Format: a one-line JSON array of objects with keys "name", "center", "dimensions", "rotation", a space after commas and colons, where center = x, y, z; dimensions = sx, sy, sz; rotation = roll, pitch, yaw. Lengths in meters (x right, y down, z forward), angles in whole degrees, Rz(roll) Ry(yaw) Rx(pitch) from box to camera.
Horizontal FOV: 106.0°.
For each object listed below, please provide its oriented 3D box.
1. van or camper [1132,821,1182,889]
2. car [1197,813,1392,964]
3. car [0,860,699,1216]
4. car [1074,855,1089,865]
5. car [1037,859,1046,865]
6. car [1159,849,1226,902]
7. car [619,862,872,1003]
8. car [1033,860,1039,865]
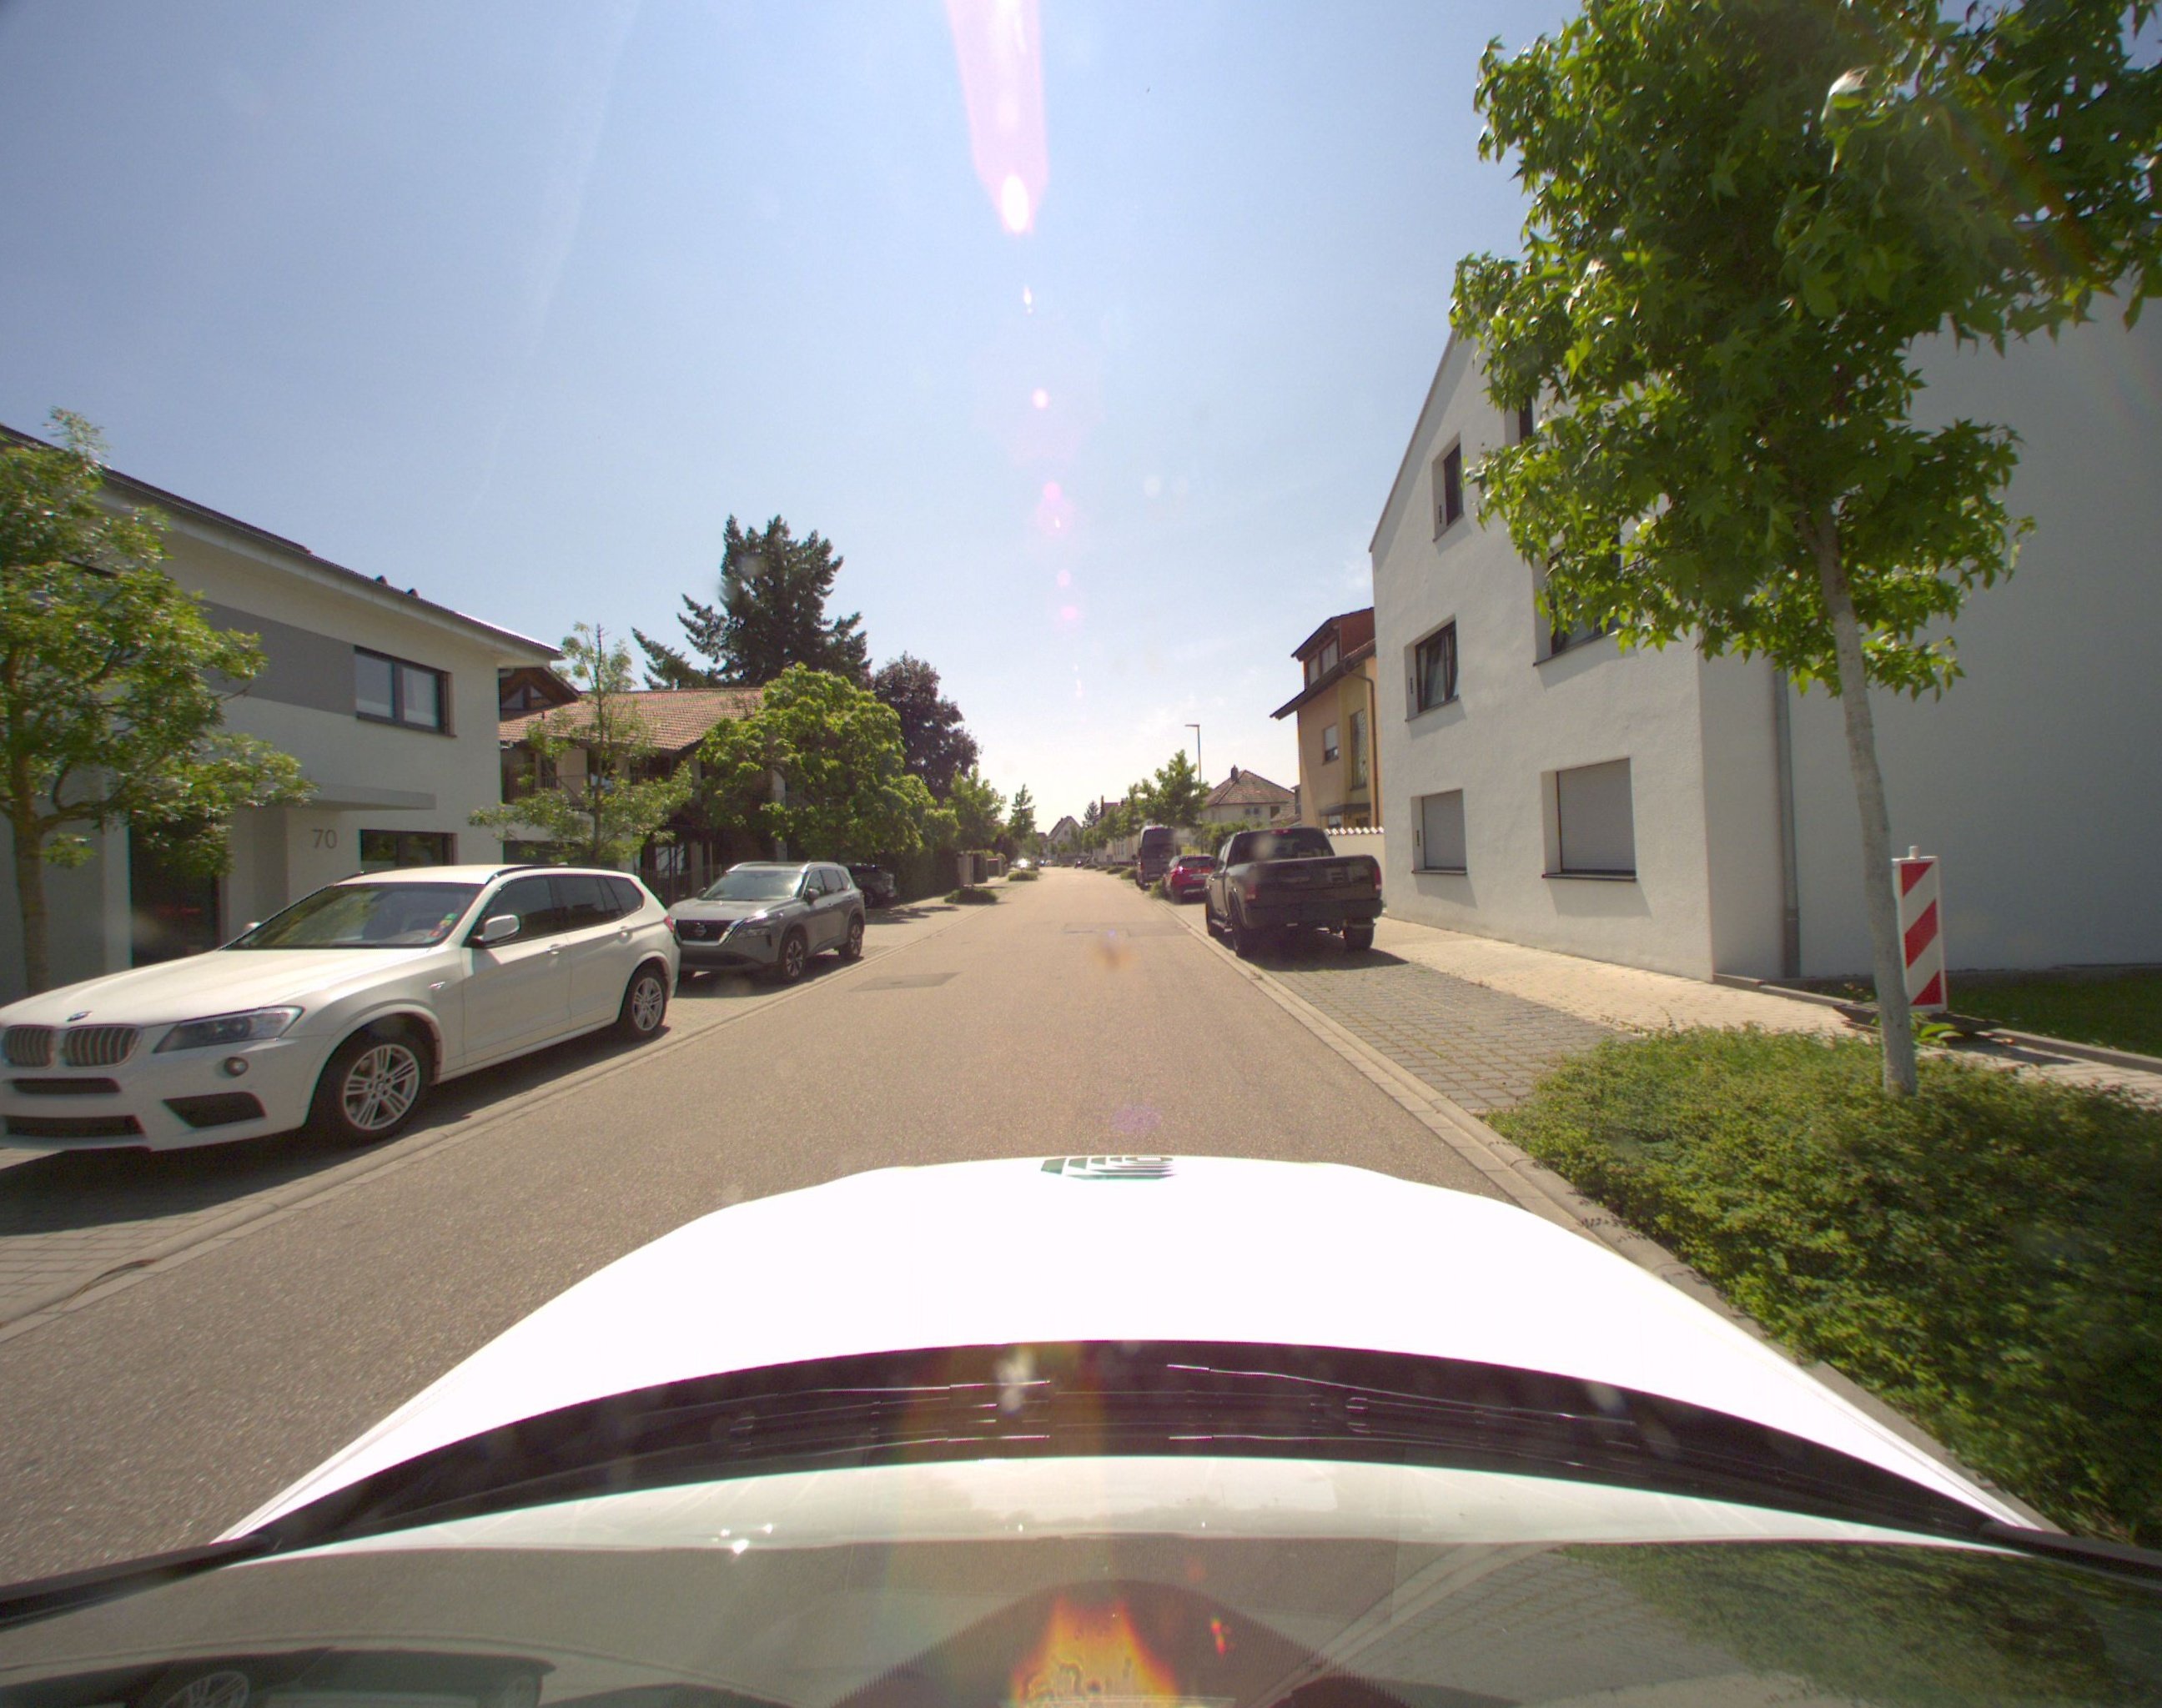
[{"name": "van or camper", "center": [3.545, 0.055, 38.612], "dimensions": [1.986, 2.941, 4.001], "rotation": [-3, 0, 1]}, {"name": "car", "center": [3.308, 0.479, 13.824], "dimensions": [1.986, 1.947, 5.216], "rotation": [-4, 0, 2]}, {"name": "car", "center": [-5.081, 0.952, 6.311], "dimensions": [1.920, 1.687, 4.500], "rotation": [-3, 0, 2]}, {"name": "car", "center": [0.087, 0.945, 132.836], "dimensions": [1.991, 1.574, 3.991], "rotation": [-3, 0, -6]}, {"name": "car", "center": [-9.372, 1.967, 193.752], "dimensions": [1.663, 1.250, 3.919], "rotation": [-3, 0, -9]}, {"name": "car", "center": [3.729, 0.707, 27.755], "dimensions": [1.665, 1.595, 3.554], "rotation": [-3, 0, -1]}, {"name": "car", "center": [-4.885, 1.039, 12.642], "dimensions": [1.986, 1.680, 4.216], "rotation": [-3, 0, 2]}, {"name": "car", "center": [-11.214, 2.143, 202.815], "dimensions": [1.188, 1.070, 3.045], "rotation": [-3, 0, -8]}]
